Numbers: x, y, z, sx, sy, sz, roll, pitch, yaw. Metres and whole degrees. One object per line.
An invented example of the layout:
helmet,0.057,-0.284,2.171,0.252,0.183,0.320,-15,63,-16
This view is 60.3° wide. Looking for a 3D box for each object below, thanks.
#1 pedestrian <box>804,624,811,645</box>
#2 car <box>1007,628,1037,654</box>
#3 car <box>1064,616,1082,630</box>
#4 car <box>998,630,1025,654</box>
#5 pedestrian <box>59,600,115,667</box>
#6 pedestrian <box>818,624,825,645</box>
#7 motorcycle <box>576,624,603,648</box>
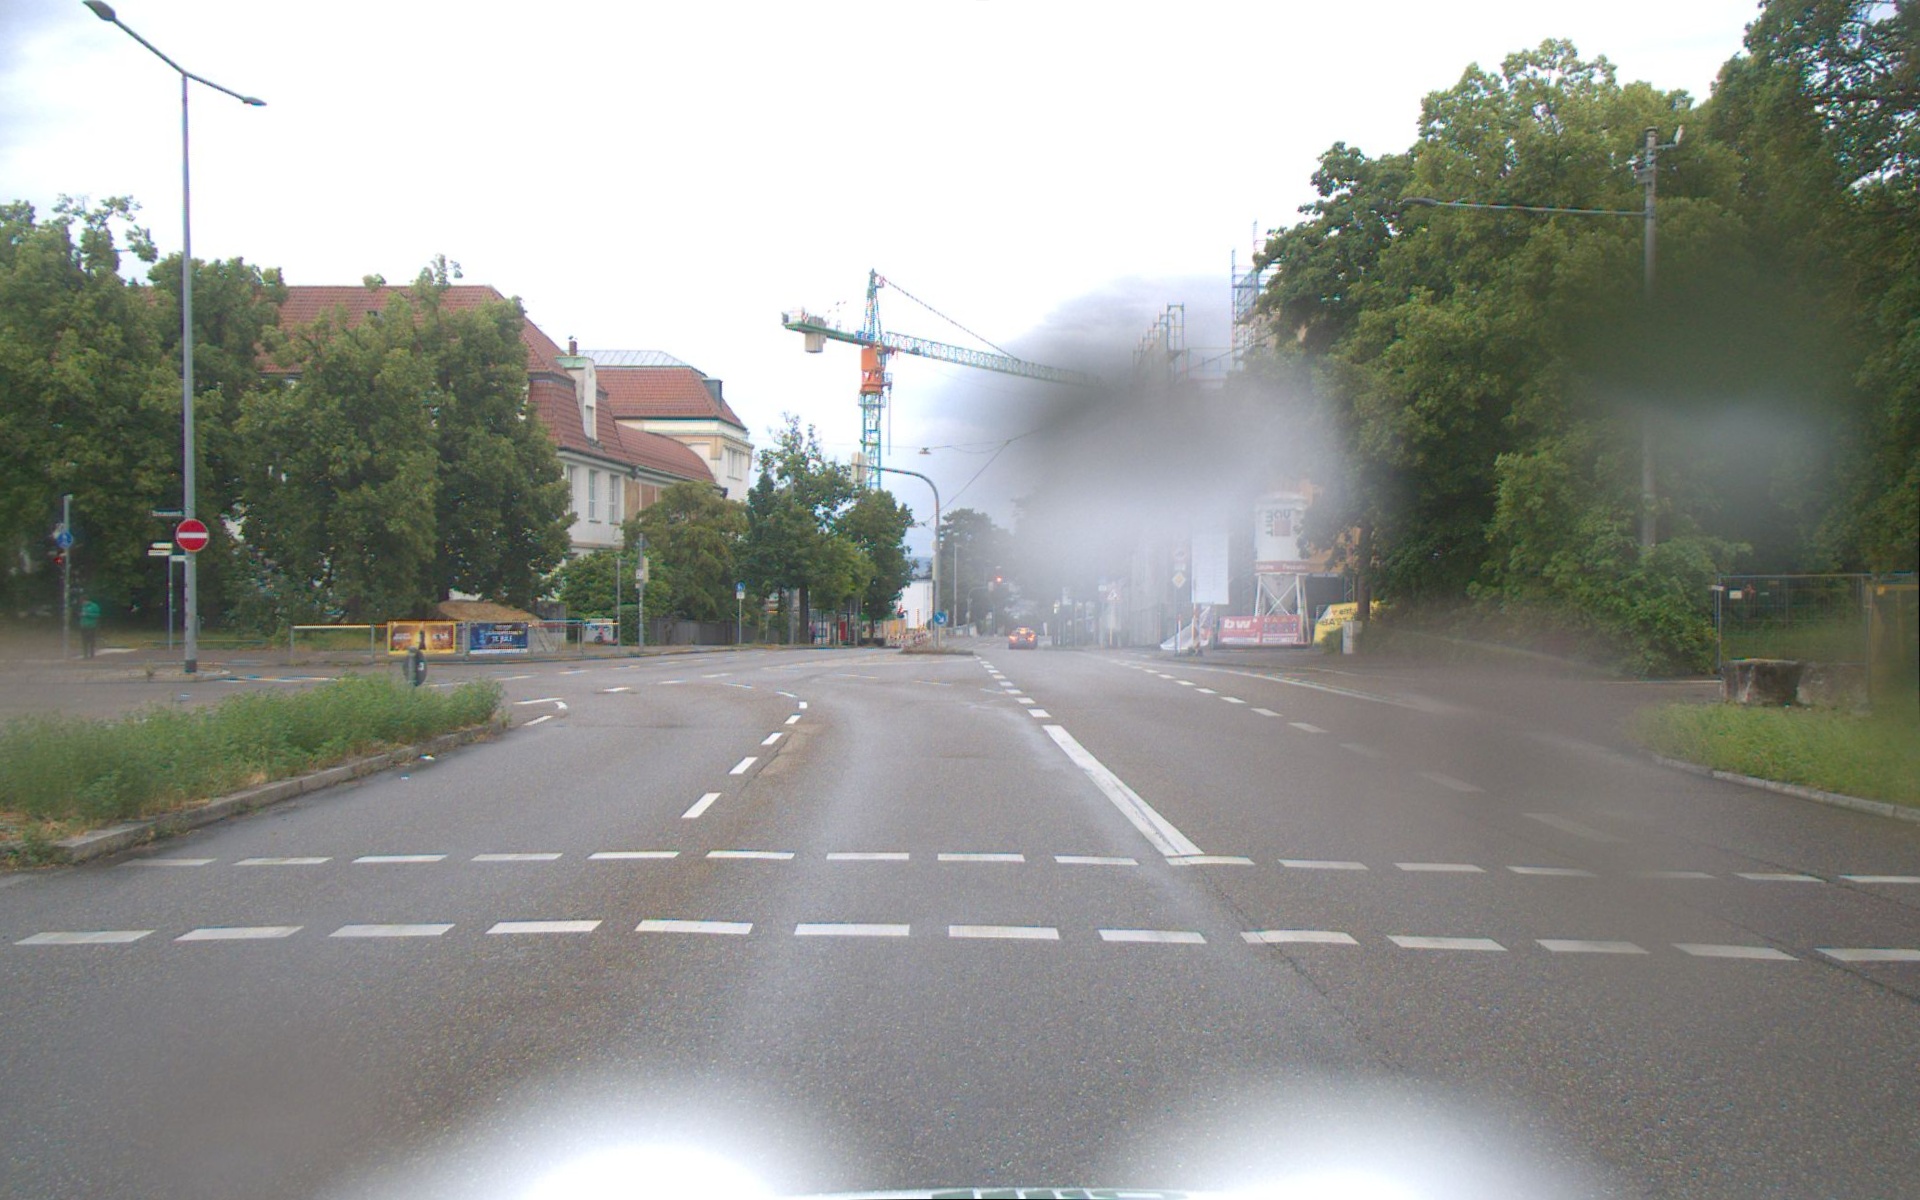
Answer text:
pedestrian,-10.253,2.320,111.390,0.465,1.421,0.411,0,0,-1
car,4.659,3.077,124.580,1.953,1.780,3.999,-1,0,-1
car,14.968,3.105,219.515,1.951,1.780,4.003,-1,0,10
car,4.048,3.314,131.260,1.953,1.780,3.999,-1,0,-1
pedestrian,-23.154,0.885,43.874,0.903,1.757,0.946,1,0,3
pedestrian,-9.363,2.336,111.677,0.465,1.421,0.411,0,0,-1
motorcycle,-14.465,1.408,64.614,0.832,0.893,0.877,1,0,-1
